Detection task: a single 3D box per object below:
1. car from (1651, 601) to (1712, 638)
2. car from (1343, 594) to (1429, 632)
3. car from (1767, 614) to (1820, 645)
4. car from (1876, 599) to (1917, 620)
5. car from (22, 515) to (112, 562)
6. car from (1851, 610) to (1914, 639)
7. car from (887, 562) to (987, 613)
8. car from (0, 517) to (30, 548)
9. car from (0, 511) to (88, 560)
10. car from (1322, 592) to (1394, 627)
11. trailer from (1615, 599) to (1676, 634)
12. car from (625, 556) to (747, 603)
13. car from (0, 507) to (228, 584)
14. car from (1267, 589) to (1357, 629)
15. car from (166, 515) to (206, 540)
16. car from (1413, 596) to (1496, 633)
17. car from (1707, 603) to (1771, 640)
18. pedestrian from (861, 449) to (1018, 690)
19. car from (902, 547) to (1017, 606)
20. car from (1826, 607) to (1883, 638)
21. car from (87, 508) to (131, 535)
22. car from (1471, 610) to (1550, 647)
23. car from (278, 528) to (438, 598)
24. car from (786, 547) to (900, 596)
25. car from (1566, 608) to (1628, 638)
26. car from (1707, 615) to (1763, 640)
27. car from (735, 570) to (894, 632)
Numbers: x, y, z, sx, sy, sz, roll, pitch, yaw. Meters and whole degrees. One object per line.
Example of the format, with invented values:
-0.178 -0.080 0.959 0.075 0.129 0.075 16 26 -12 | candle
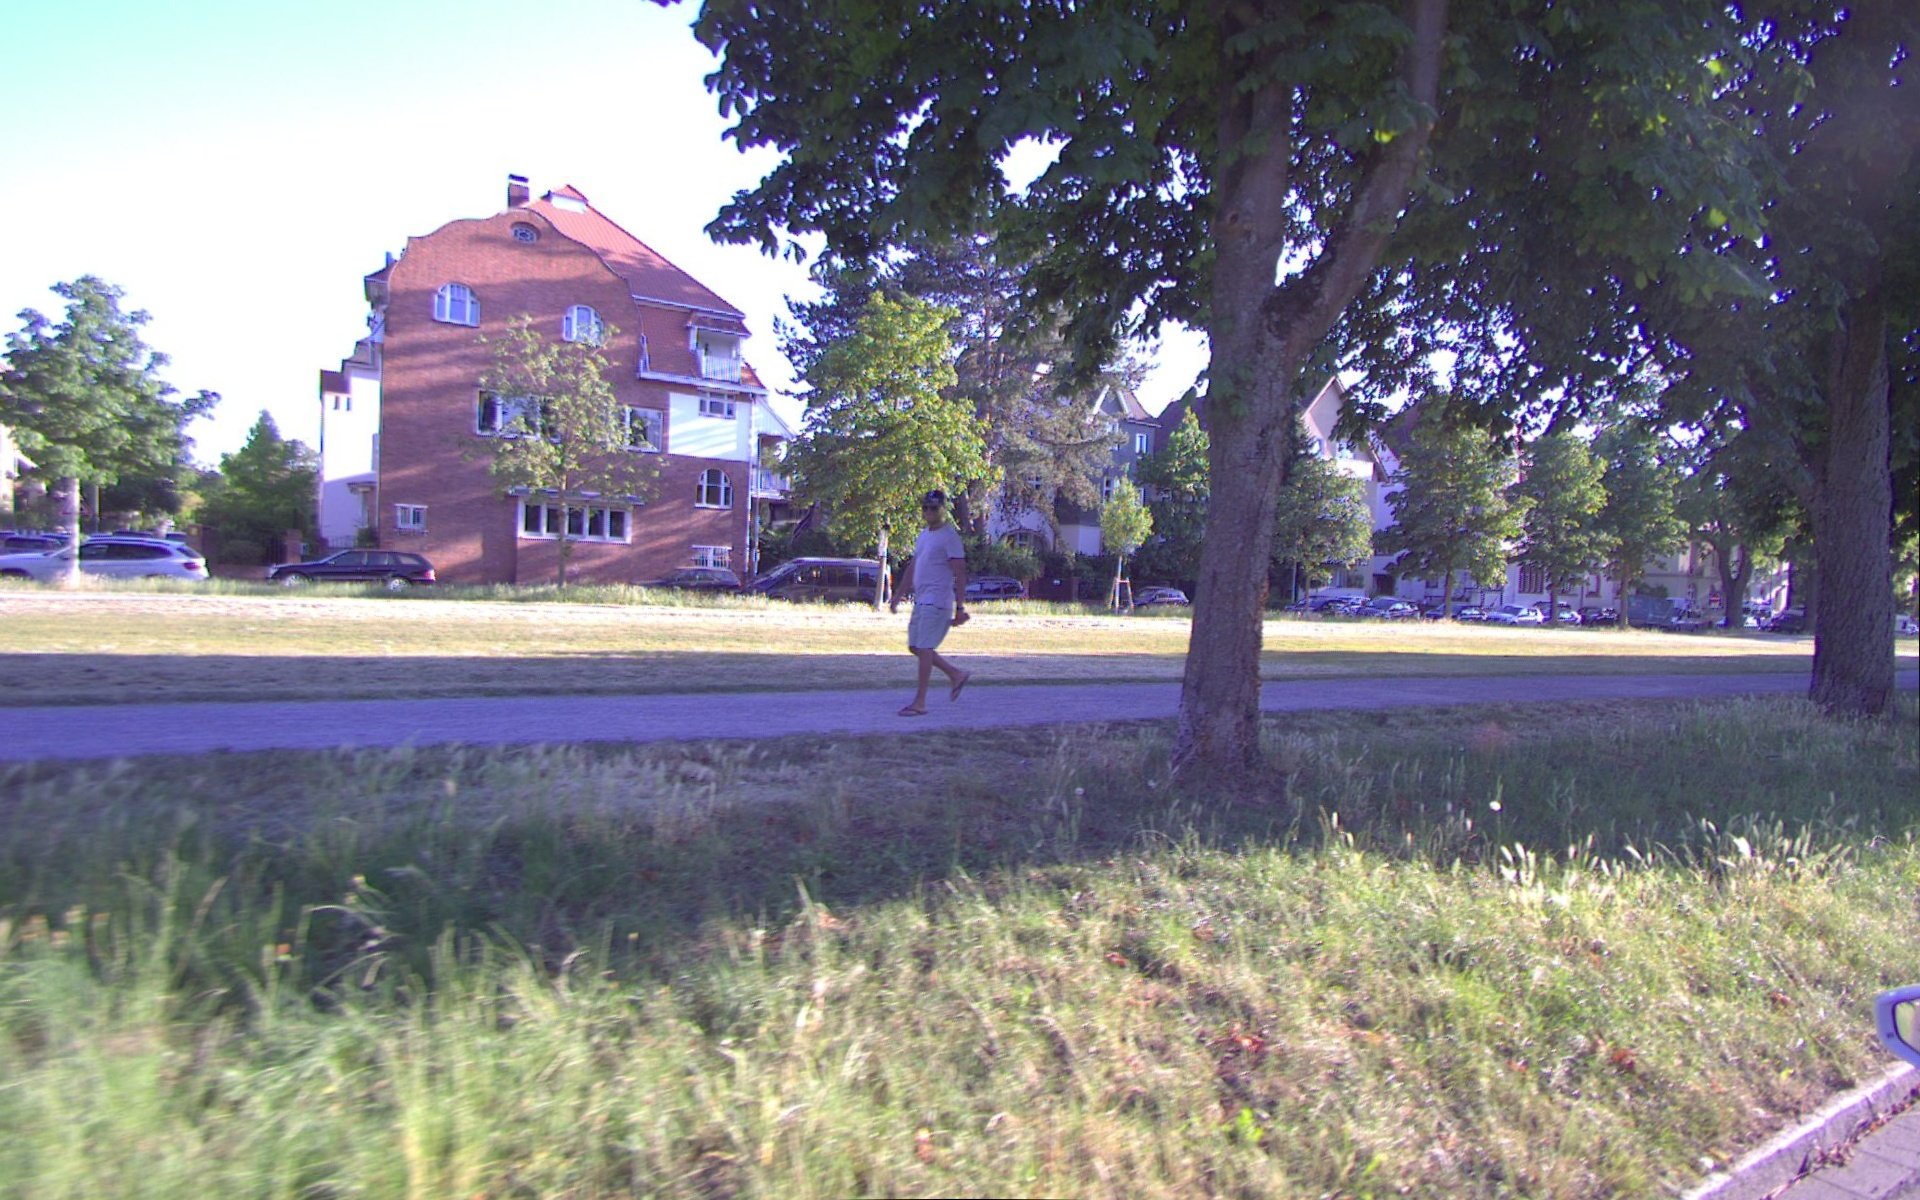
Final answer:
57.922 1.602 80.598 5.127 2.708 1.983 2 1 -31 | car
21.937 0.667 51.744 3.951 1.706 1.985 3 2 -29 | car
64.674 2.265 77.928 4.264 2.205 1.676 2 1 -30 | car
98.313 0.988 105.451 4.434 2.040 1.983 3 -1 -31 | car
-34.174 -2.338 38.549 1.815 1.595 3.876 2 1 -31 | car
80.155 2.130 87.257 5.395 2.266 2.522 2 1 -31 | car
-1.025 -0.560 44.682 3.952 2.040 1.984 2 2 -29 | car
-48.158 -3.396 49.896 1.976 1.506 3.968 2 2 -29 | car
-32.058 -2.225 34.899 1.843 1.506 3.968 2 2 -29 | car
23.698 0.550 59.763 3.958 1.806 1.982 3 2 -33 | car
52.933 1.284 77.549 4.669 2.460 1.983 2 1 -31 | trailer
-10.683 -0.796 39.250 4.255 1.645 1.748 2 2 -31 | car
-21.563 -1.353 25.509 4.598 1.661 1.809 2 2 -31 | car
17.244 0.428 49.202 3.951 1.706 1.985 3 2 -29 | car
-55.776 -5.227 72.443 1.815 1.595 3.876 2 1 -31 | car
27.040 0.775 54.906 4.205 1.744 1.984 3 2 -30 | car
66.998 1.847 86.328 5.752 2.960 2.425 3 -1 -31 | car
-0.170 -0.223 7.948 0.979 1.781 0.722 2 2 -24 | pedestrian
-0.015 -0.912 39.053 3.954 2.040 1.983 2 2 -31 | car
74.125 1.883 83.232 5.127 2.280 1.983 2 1 -31 | car
-65.937 -6.041 77.854 1.978 1.876 3.965 2 2 -31 | car
31.711 1.642 57.883 4.205 1.885 1.984 3 2 -30 | car
-19.557 -1.168 32.819 4.317 2.041 1.748 2 2 -31 | car
-4.905 -1.177 42.137 4.357 1.862 1.807 2 2 -31 | car
47.019 1.725 74.106 4.698 1.979 1.982 2 1 -32 | car
55.994 1.987 72.546 4.264 1.580 1.676 3 1 -30 | car
-5.113 0.048 35.575 5.184 1.966 1.984 2 2 -30 | car
